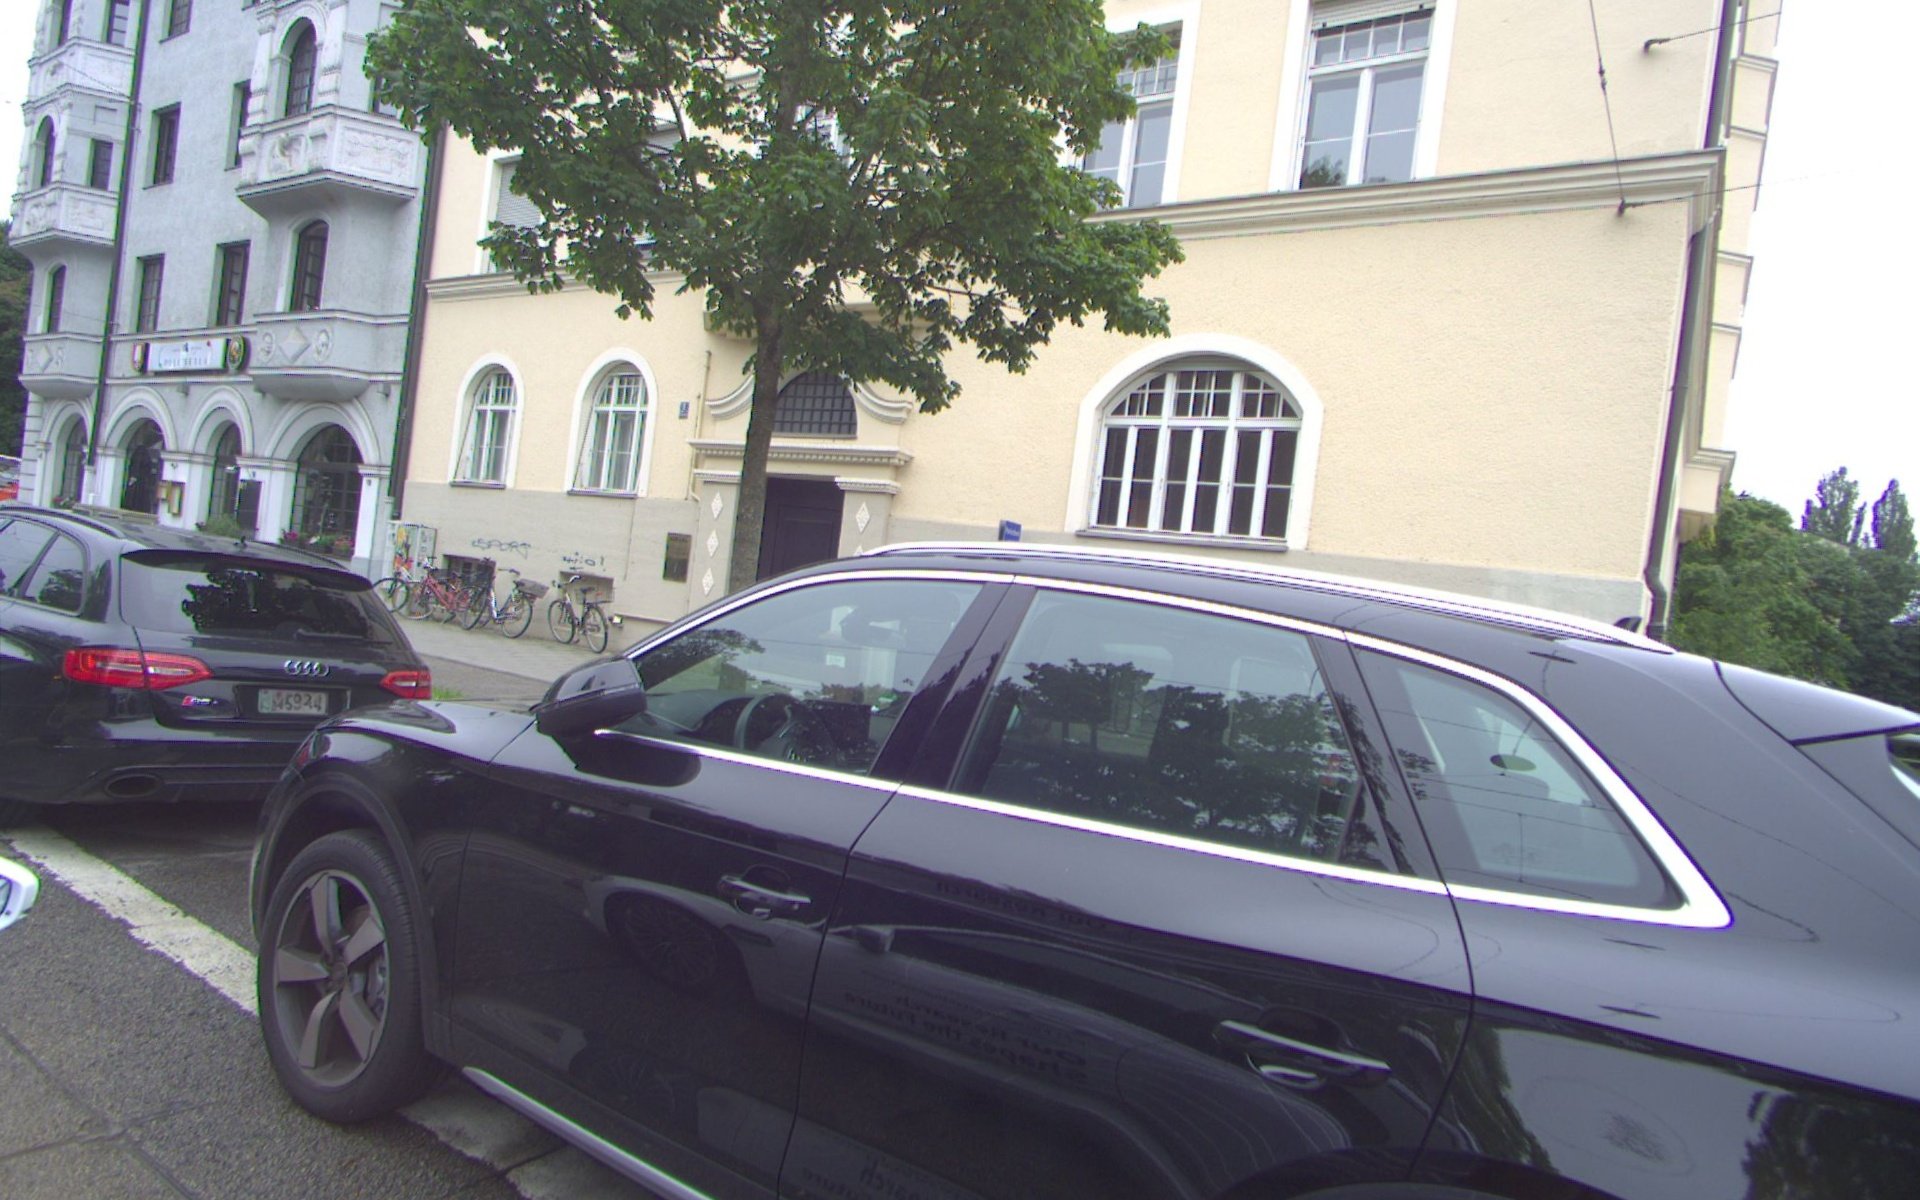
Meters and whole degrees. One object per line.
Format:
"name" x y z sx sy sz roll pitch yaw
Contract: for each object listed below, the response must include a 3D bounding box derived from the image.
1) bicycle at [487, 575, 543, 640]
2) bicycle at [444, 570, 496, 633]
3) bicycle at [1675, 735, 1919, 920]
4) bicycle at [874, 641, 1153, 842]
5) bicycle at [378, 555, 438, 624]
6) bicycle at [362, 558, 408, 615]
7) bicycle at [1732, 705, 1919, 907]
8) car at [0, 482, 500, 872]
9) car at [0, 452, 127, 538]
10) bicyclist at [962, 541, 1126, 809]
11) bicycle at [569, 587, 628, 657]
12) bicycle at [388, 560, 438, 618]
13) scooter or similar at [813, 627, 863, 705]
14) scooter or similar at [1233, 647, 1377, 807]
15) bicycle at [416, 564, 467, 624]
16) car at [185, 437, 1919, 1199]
"bicycle" -7.183 0.121 16.225 0.871 0.941 0.285 7 -1 33
"bicycle" -8.266 0.021 16.967 0.871 0.941 0.273 7 -1 33
"bicycle" 6.543 1.738 7.860 1.417 1.119 0.287 7 0 24
"bicycle" 0.353 0.961 7.322 1.880 1.093 0.579 7 2 31
"bicycle" -9.543 -0.192 17.379 1.203 1.051 0.242 7 -1 32
"bicycle" -10.599 -0.249 18.531 0.871 0.941 0.259 7 -1 33
"bicycle" 6.971 1.584 7.711 1.511 1.327 0.332 7 -1 30
"car" -4.863 0.173 5.719 4.525 1.442 1.720 7 -2 31
"car" -36.552 -4.242 39.480 2.192 2.642 5.311 7 -2 29
"bicyclist" 0.614 0.528 7.206 0.714 1.749 0.726 7 -1 31
"bicycle" -5.473 0.331 15.219 0.871 0.941 0.222 7 -1 31
"bicycle" -9.815 -0.202 18.048 0.871 0.941 0.291 7 -1 33
"scooter or similar" -1.538 0.828 12.709 0.413 0.921 0.348 8 -1 11
"scooter or similar" 3.288 1.188 9.613 1.123 1.328 0.261 7 -1 32
"bicycle" -9.034 -0.108 17.521 0.871 0.941 0.306 7 -1 34
"car" 0.151 0.663 2.521 4.414 1.677 1.777 7 -2 32
